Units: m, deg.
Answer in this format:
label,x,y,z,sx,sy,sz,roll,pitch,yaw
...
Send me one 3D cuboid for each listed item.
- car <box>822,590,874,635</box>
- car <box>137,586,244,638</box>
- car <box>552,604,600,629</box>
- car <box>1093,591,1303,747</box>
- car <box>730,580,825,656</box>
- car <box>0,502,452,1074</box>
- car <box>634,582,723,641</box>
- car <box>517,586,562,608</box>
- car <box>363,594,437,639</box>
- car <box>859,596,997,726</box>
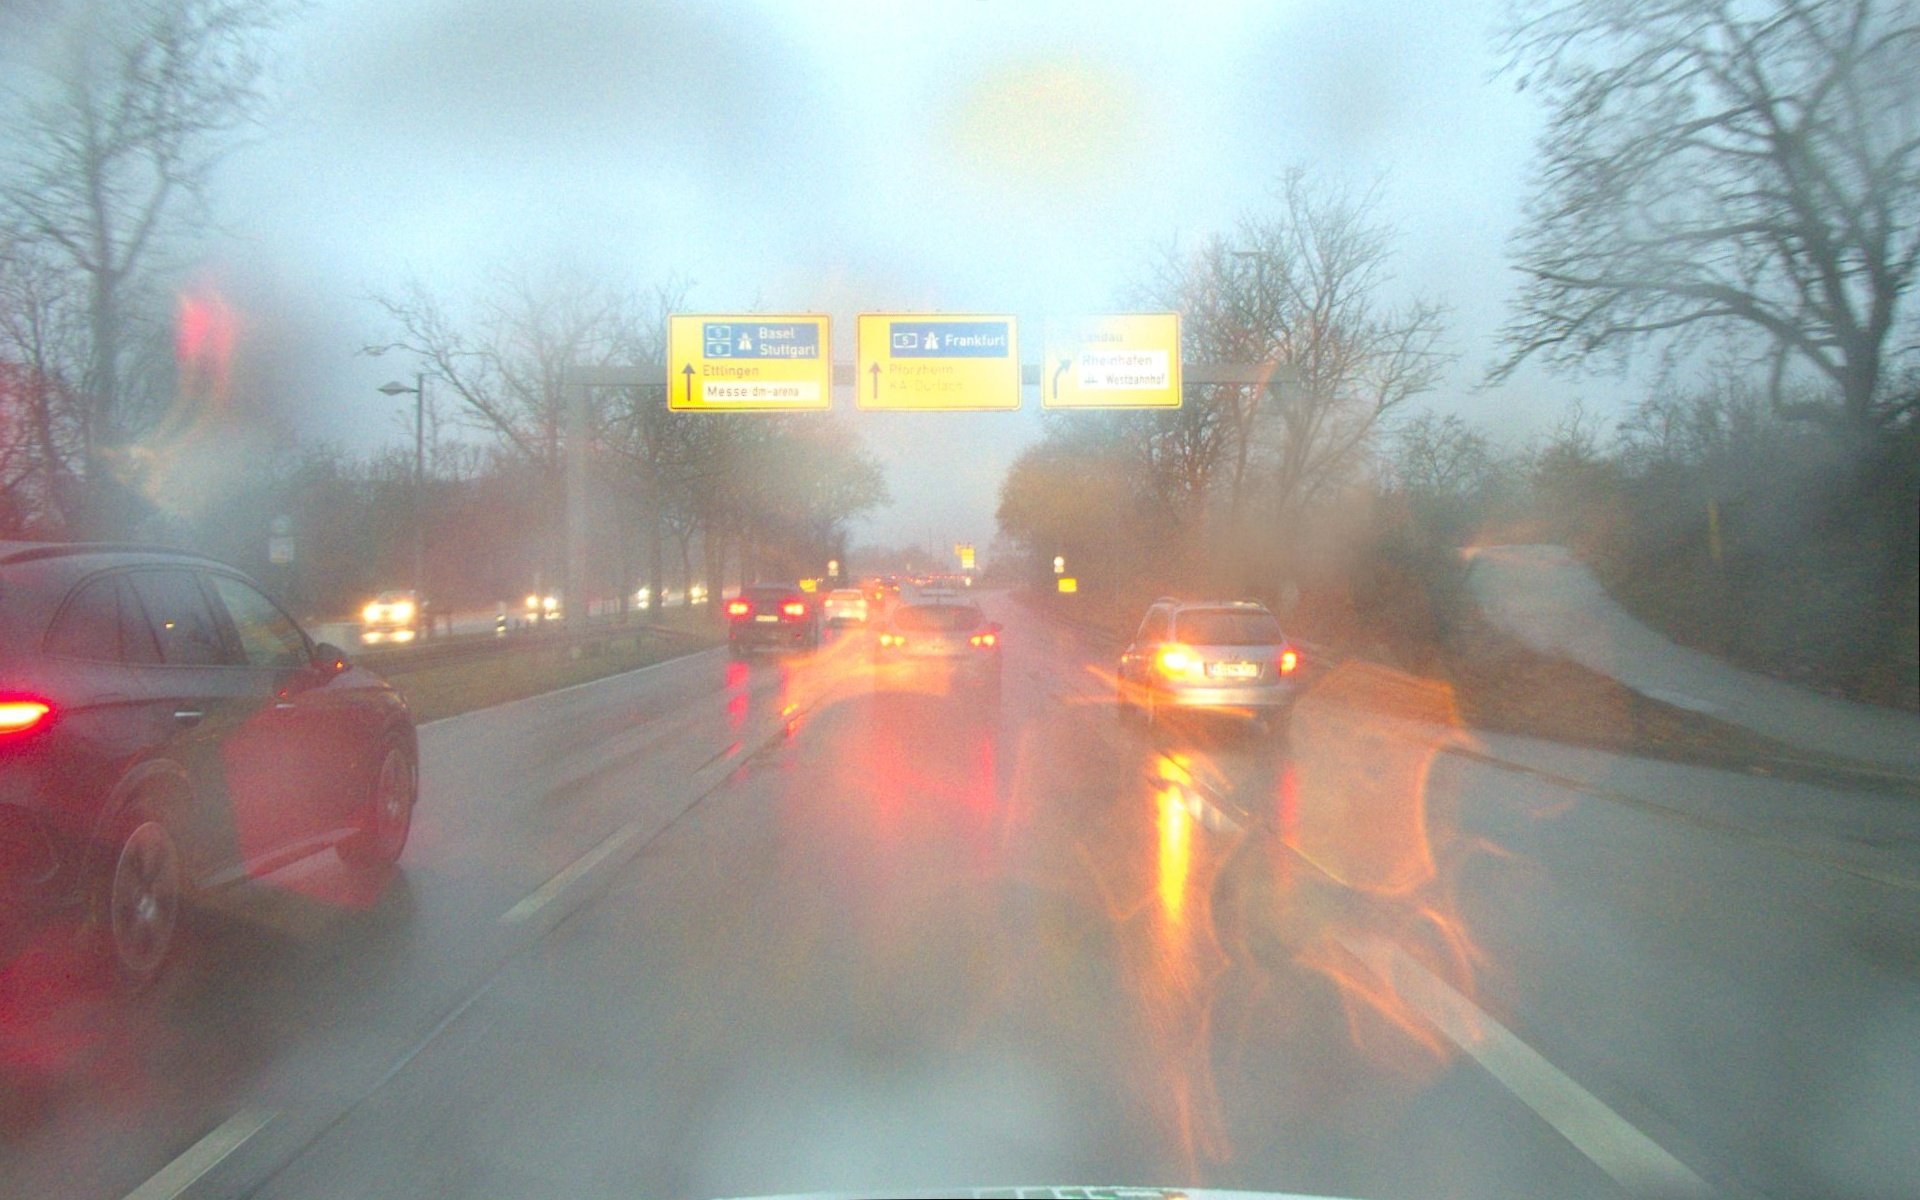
label,x,y,z,sx,sy,sz,roll,pitch,yaw
car,-4.399,0.477,65.230,1.785,1.677,3.999,-1,0,0
car,-29.097,0.440,62.678,1.952,1.883,4.426,0,0,0
car,-21.096,0.885,91.092,1.716,1.331,4.315,0,0,-1
car,2.783,0.773,20.330,1.894,1.677,4.465,1,-1,0
car,-4.209,0.402,38.681,1.785,1.677,3.999,-1,0,0
car,-3.681,0.562,7.052,1.785,1.677,4.464,-1,0,-2
car,-8.074,0.311,47.762,1.953,1.625,3.999,0,0,-1
car,-25.719,-0.175,101.266,1.716,1.331,4.315,0,0,-1
car,-21.578,0.616,63.843,1.749,1.655,3.573,0,0,-2
car,-0.427,0.829,23.924,1.785,1.677,4.465,1,-1,0
